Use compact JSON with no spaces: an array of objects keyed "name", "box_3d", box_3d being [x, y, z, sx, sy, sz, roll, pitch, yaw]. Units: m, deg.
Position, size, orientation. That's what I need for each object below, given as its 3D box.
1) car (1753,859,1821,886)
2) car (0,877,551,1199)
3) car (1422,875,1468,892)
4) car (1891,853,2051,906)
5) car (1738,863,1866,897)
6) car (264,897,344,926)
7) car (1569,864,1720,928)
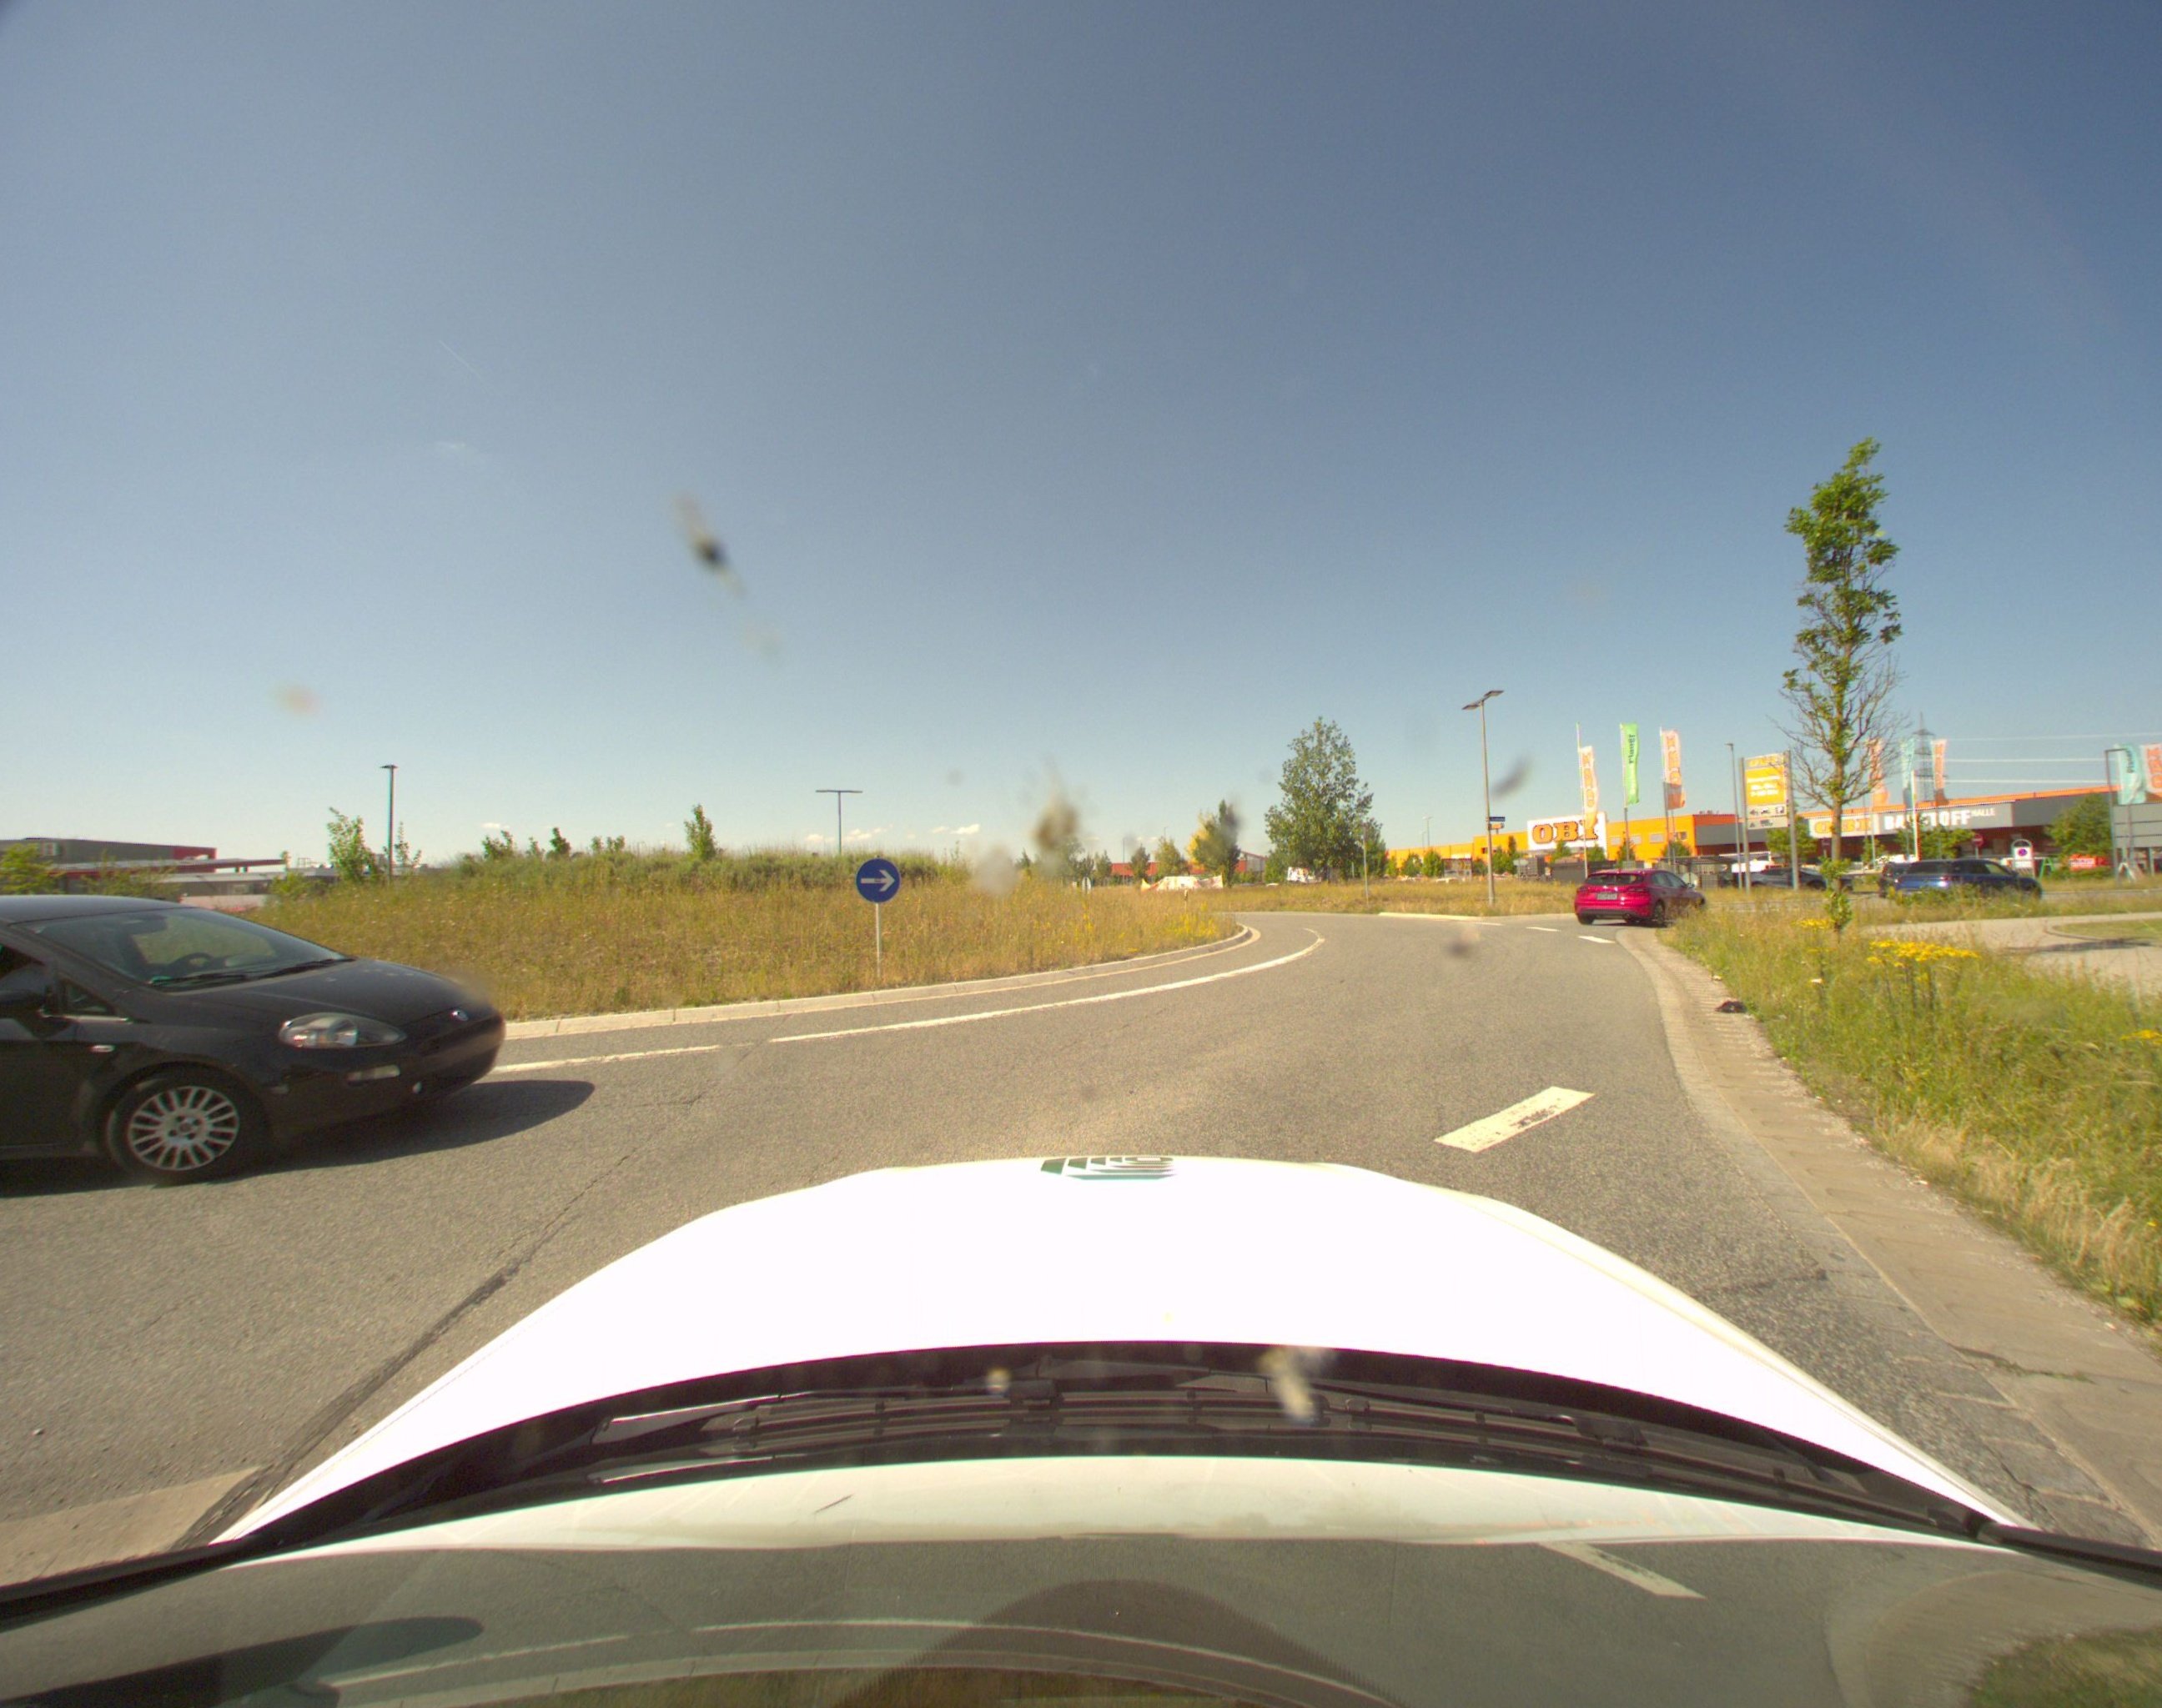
[{"name":"car","box_3d":[49.036,1.307,56.583,3.769,1.841,1.691,1,-3,-15]},{"name":"car","box_3d":[-5.622,0.946,4.731,3.889,1.488,1.640,-1,-1,-8]},{"name":"car","box_3d":[37.847,3.060,84.774,2.003,1.618,3.966,0,-3,-25]},{"name":"car","box_3d":[29.411,0.820,26.941,4.073,1.635,1.848,0,-2,-14]},{"name":"car","box_3d":[38.435,1.433,43.578,2.079,1.627,4.663,0,-4,-21]},{"name":"car","box_3d":[-59.295,4.355,62.293,1.995,2.014,5.114,-1,-3,-12]},{"name":"car","box_3d":[14.424,1.021,20.786,4.134,1.416,1.789,0,-2,-35]}]
